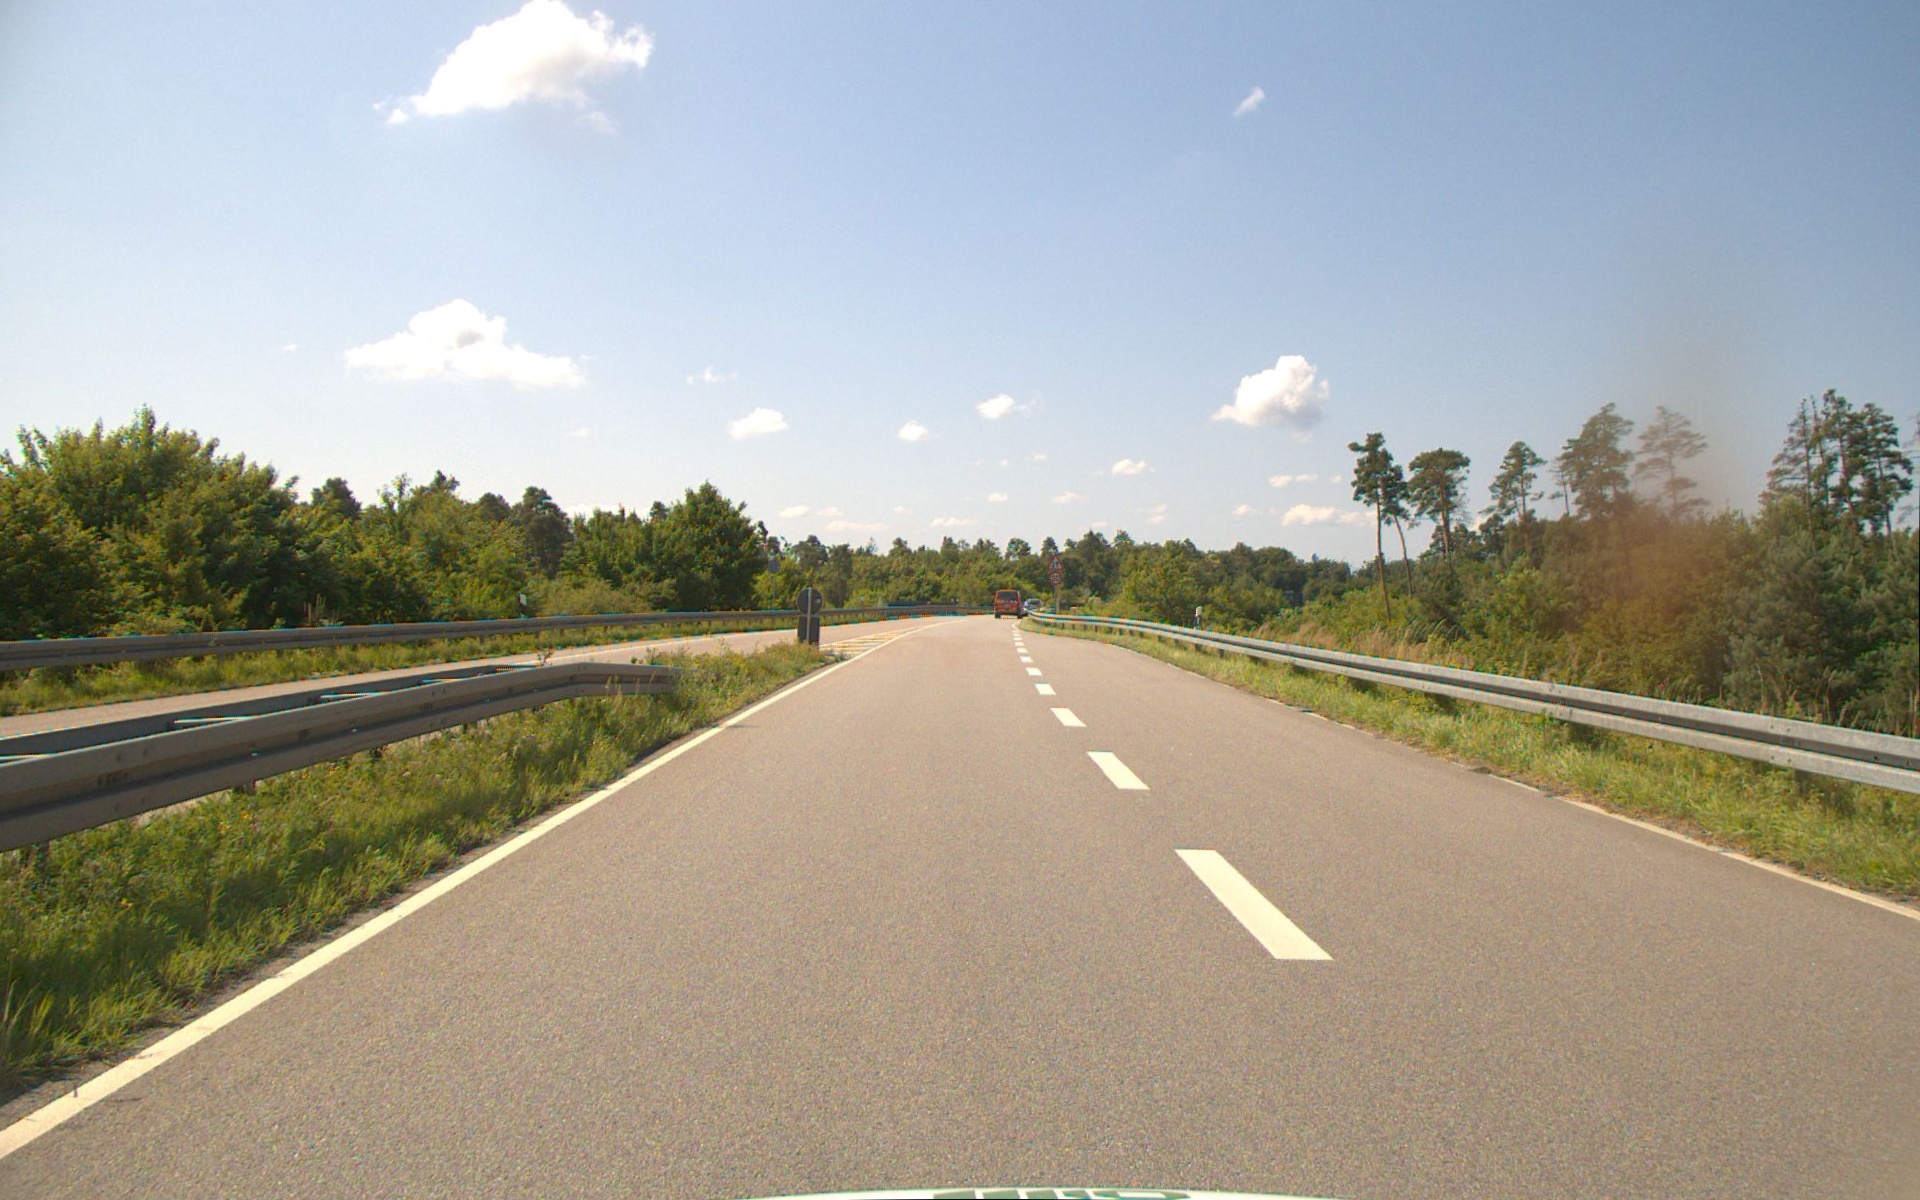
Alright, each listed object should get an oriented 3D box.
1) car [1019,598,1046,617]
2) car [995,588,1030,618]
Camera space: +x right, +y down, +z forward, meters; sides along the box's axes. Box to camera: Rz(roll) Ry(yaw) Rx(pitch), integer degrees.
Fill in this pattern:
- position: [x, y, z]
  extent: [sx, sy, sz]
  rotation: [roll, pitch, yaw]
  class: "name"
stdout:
- position: [6.071, 0.641, 139.024]
  extent: [1.965, 1.520, 4.241]
  rotation: [1, -1, 6]
  class: "car"
- position: [3.736, 0.256, 117.336]
  extent: [2.033, 2.028, 5.115]
  rotation: [1, -1, 6]
  class: "car"
